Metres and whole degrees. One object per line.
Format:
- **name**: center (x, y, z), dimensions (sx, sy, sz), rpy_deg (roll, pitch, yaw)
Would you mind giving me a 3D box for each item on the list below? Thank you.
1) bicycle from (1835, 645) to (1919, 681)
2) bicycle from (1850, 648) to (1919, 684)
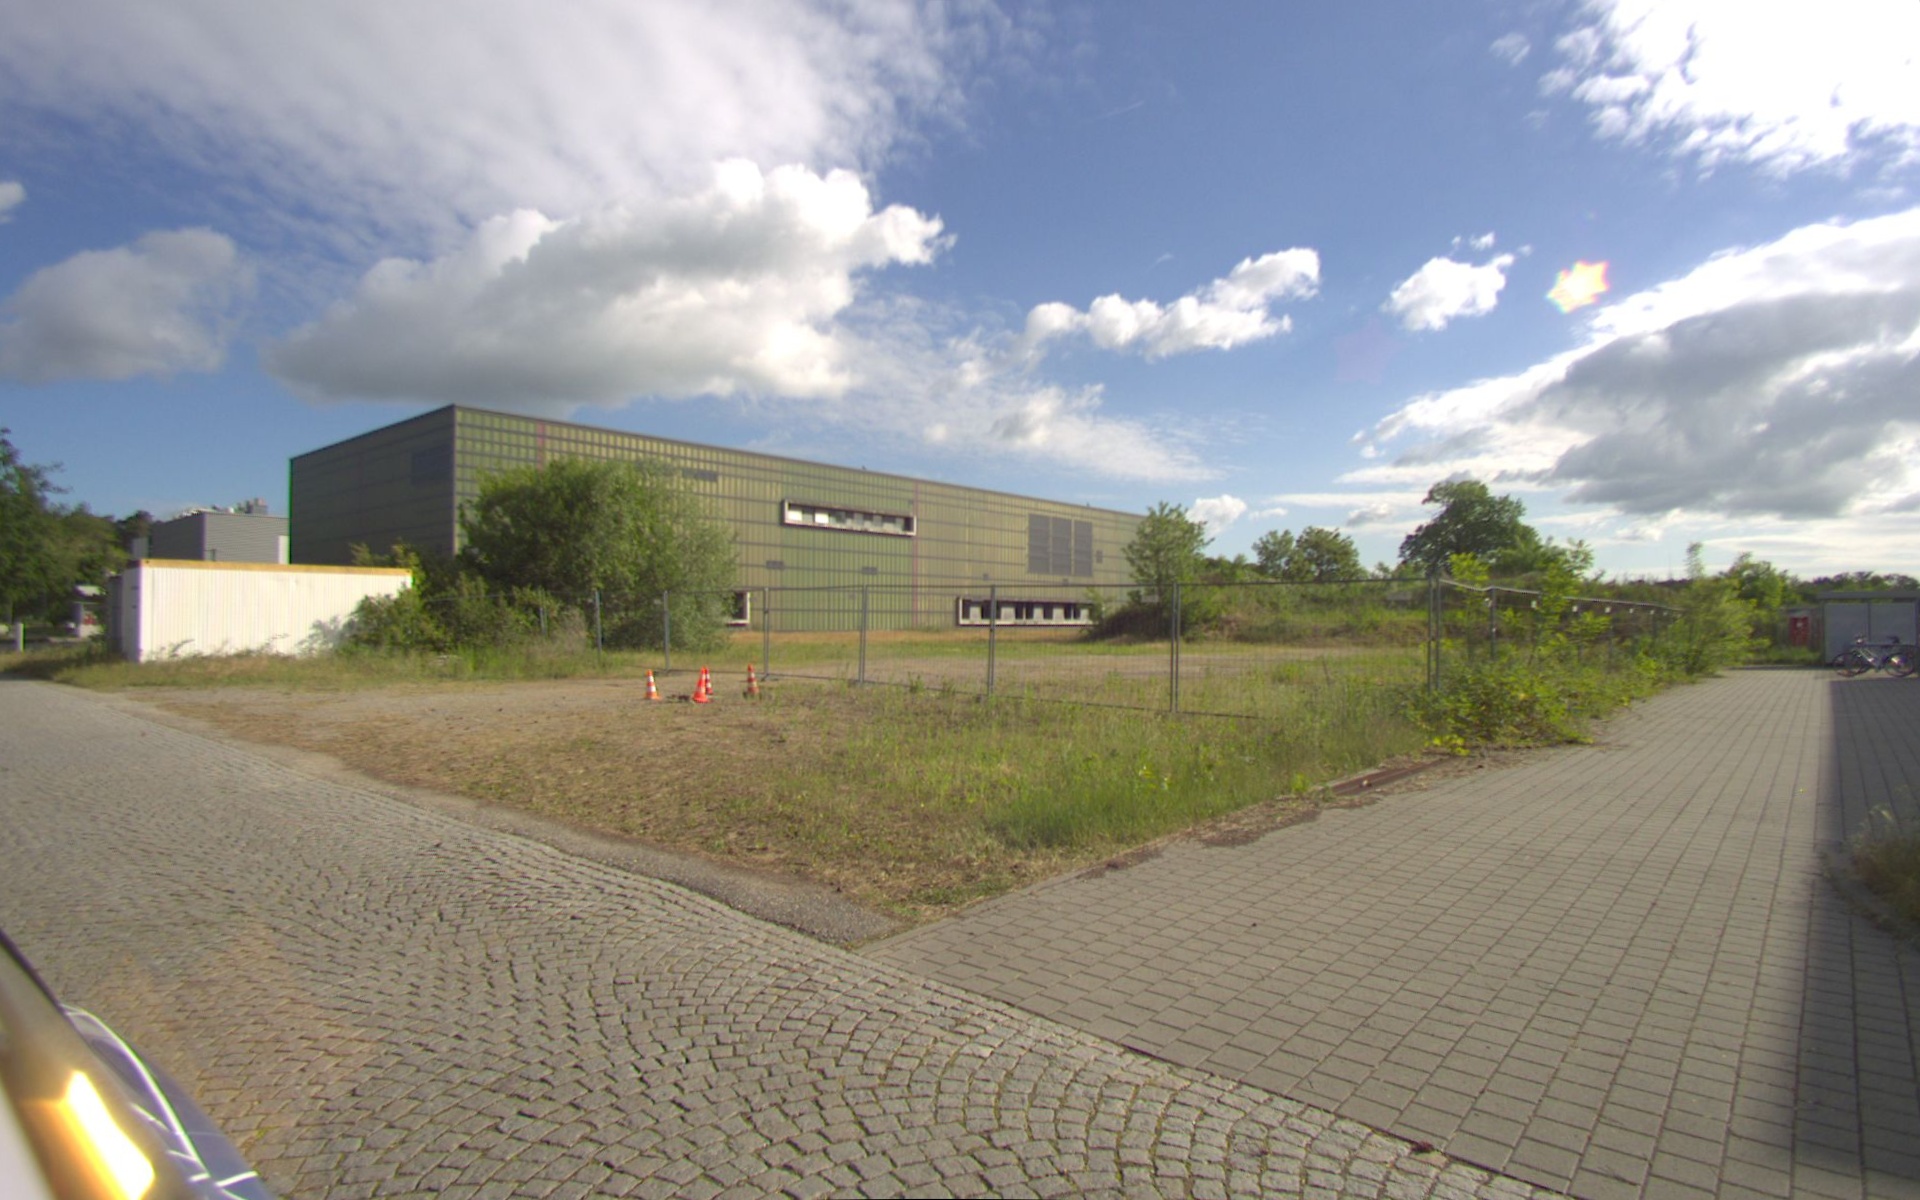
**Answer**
- **bicycle**: center (25.769, 1.757, 28.240), dimensions (1.968, 0.976, 0.830), rpy_deg (-4, -4, 44)
- **bicycle**: center (24.328, 1.730, 26.598), dimensions (1.357, 0.906, 0.511), rpy_deg (-4, -4, 44)
